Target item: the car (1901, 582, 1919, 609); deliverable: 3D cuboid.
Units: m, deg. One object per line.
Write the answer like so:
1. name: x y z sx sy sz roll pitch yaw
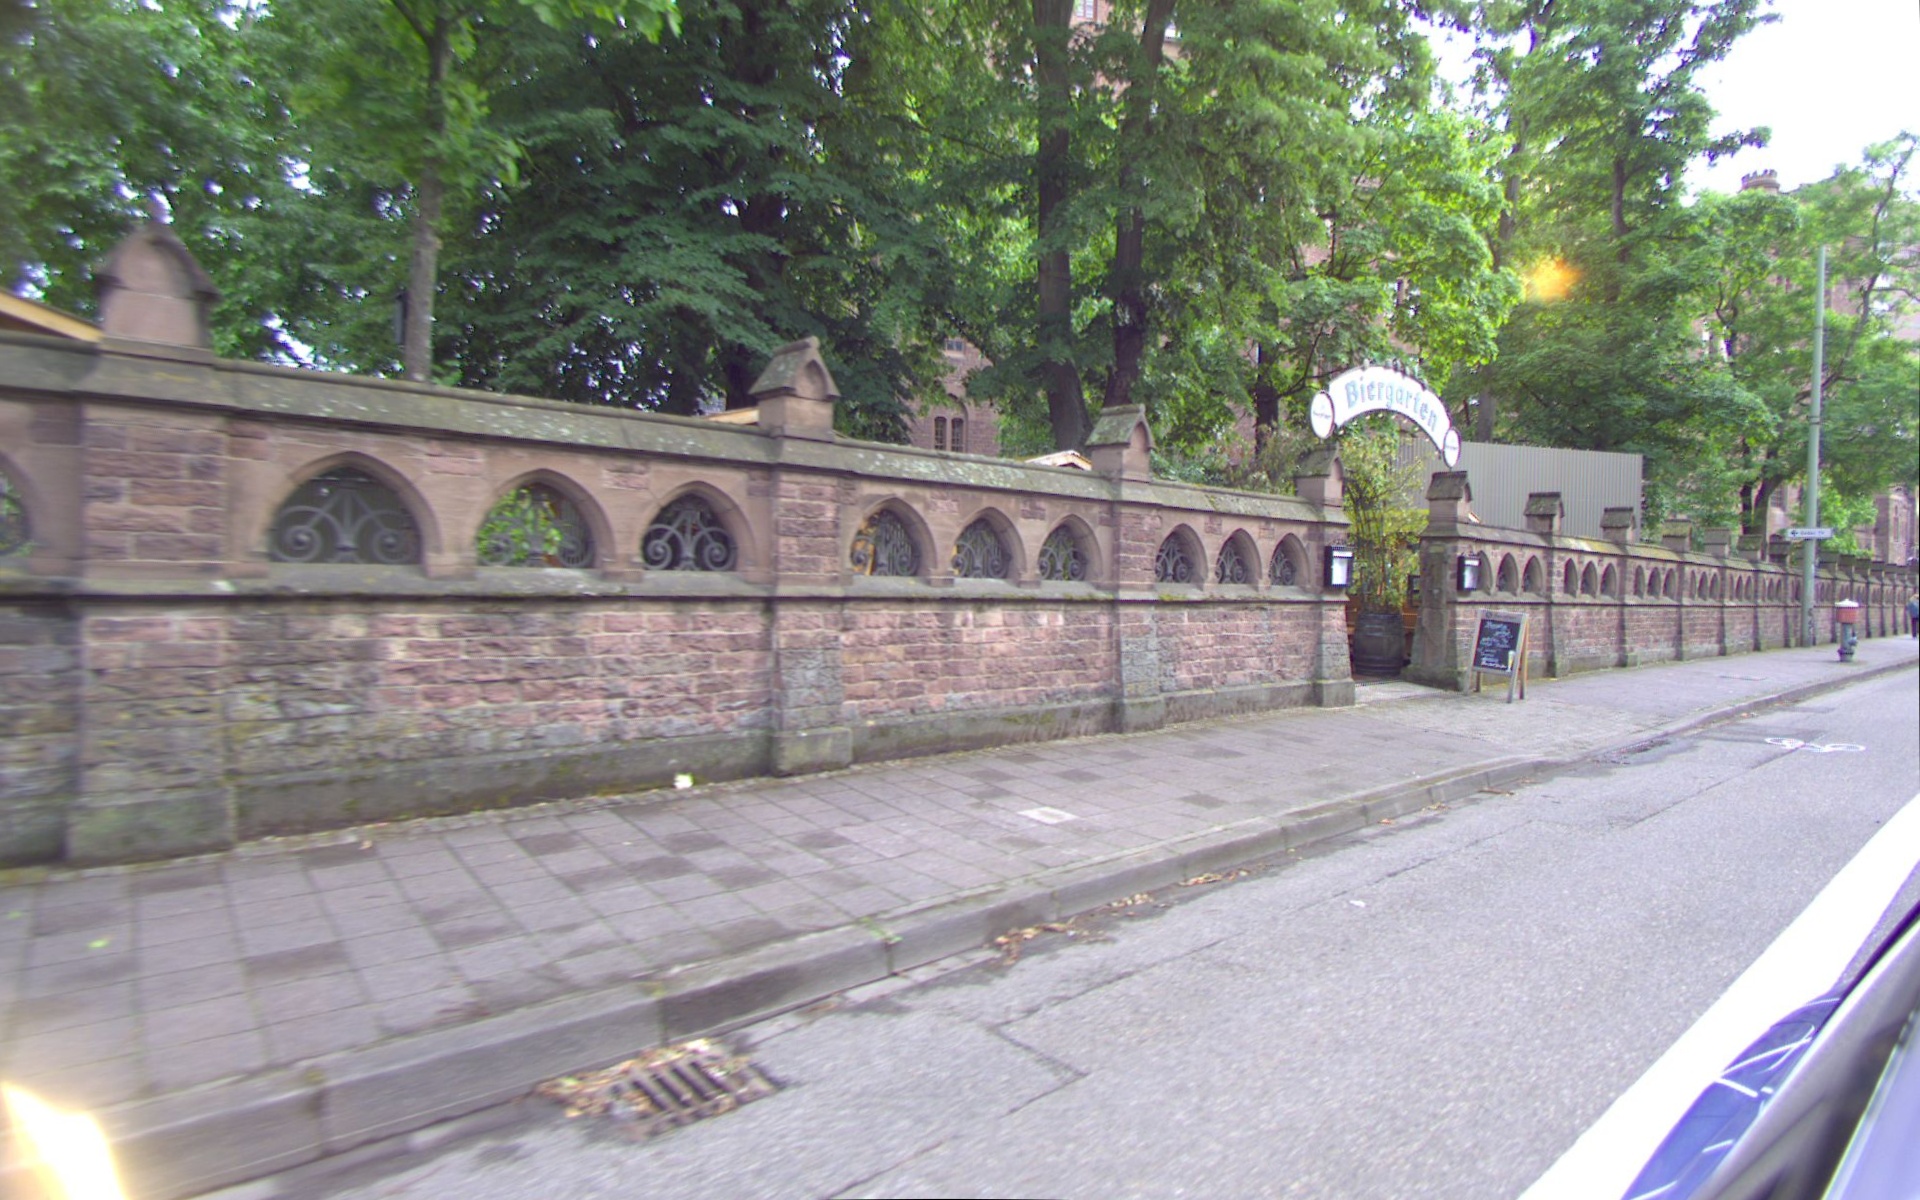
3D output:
1. car: 61.113 -0.135 62.428 1.959 1.637 4.009 1 5 -28

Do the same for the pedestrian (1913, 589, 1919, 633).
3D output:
1. pedestrian: 36.596 0.422 38.362 0.759 1.675 0.558 0 3 -43
